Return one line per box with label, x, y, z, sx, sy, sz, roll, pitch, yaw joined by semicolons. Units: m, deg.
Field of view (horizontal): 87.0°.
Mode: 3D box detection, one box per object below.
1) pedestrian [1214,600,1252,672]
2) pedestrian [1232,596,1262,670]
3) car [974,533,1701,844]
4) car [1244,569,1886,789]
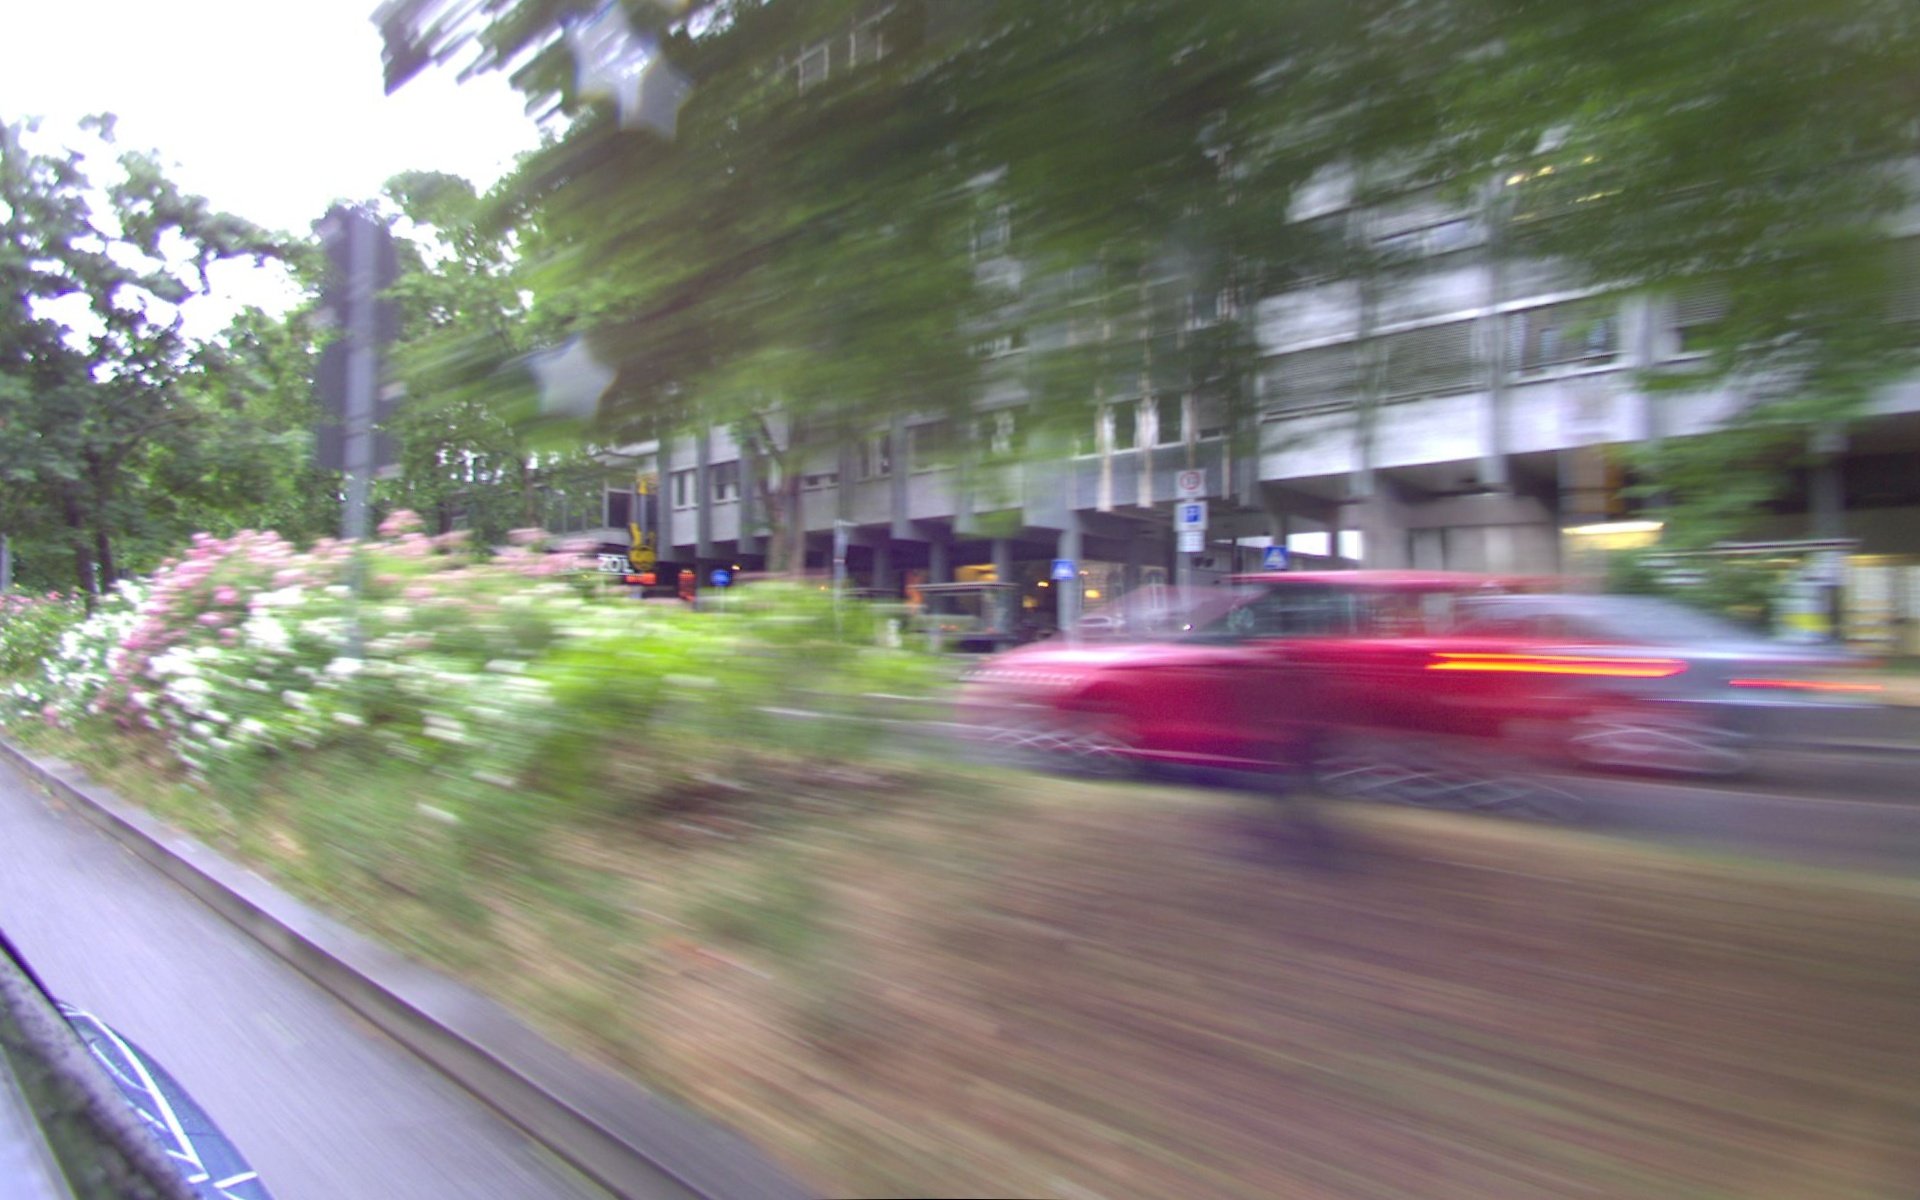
pedestrian;6.682;0.875;24.774;0.685;1.721;0.558;-1;-1;41
pedestrian;7.159;0.809;25.255;0.522;1.821;0.542;-1;-1;41
car;2.245;0.490;6.725;4.188;1.439;1.709;-1;-4;41
car;4.946;0.605;8.793;4.495;1.439;1.709;-1;-4;41
